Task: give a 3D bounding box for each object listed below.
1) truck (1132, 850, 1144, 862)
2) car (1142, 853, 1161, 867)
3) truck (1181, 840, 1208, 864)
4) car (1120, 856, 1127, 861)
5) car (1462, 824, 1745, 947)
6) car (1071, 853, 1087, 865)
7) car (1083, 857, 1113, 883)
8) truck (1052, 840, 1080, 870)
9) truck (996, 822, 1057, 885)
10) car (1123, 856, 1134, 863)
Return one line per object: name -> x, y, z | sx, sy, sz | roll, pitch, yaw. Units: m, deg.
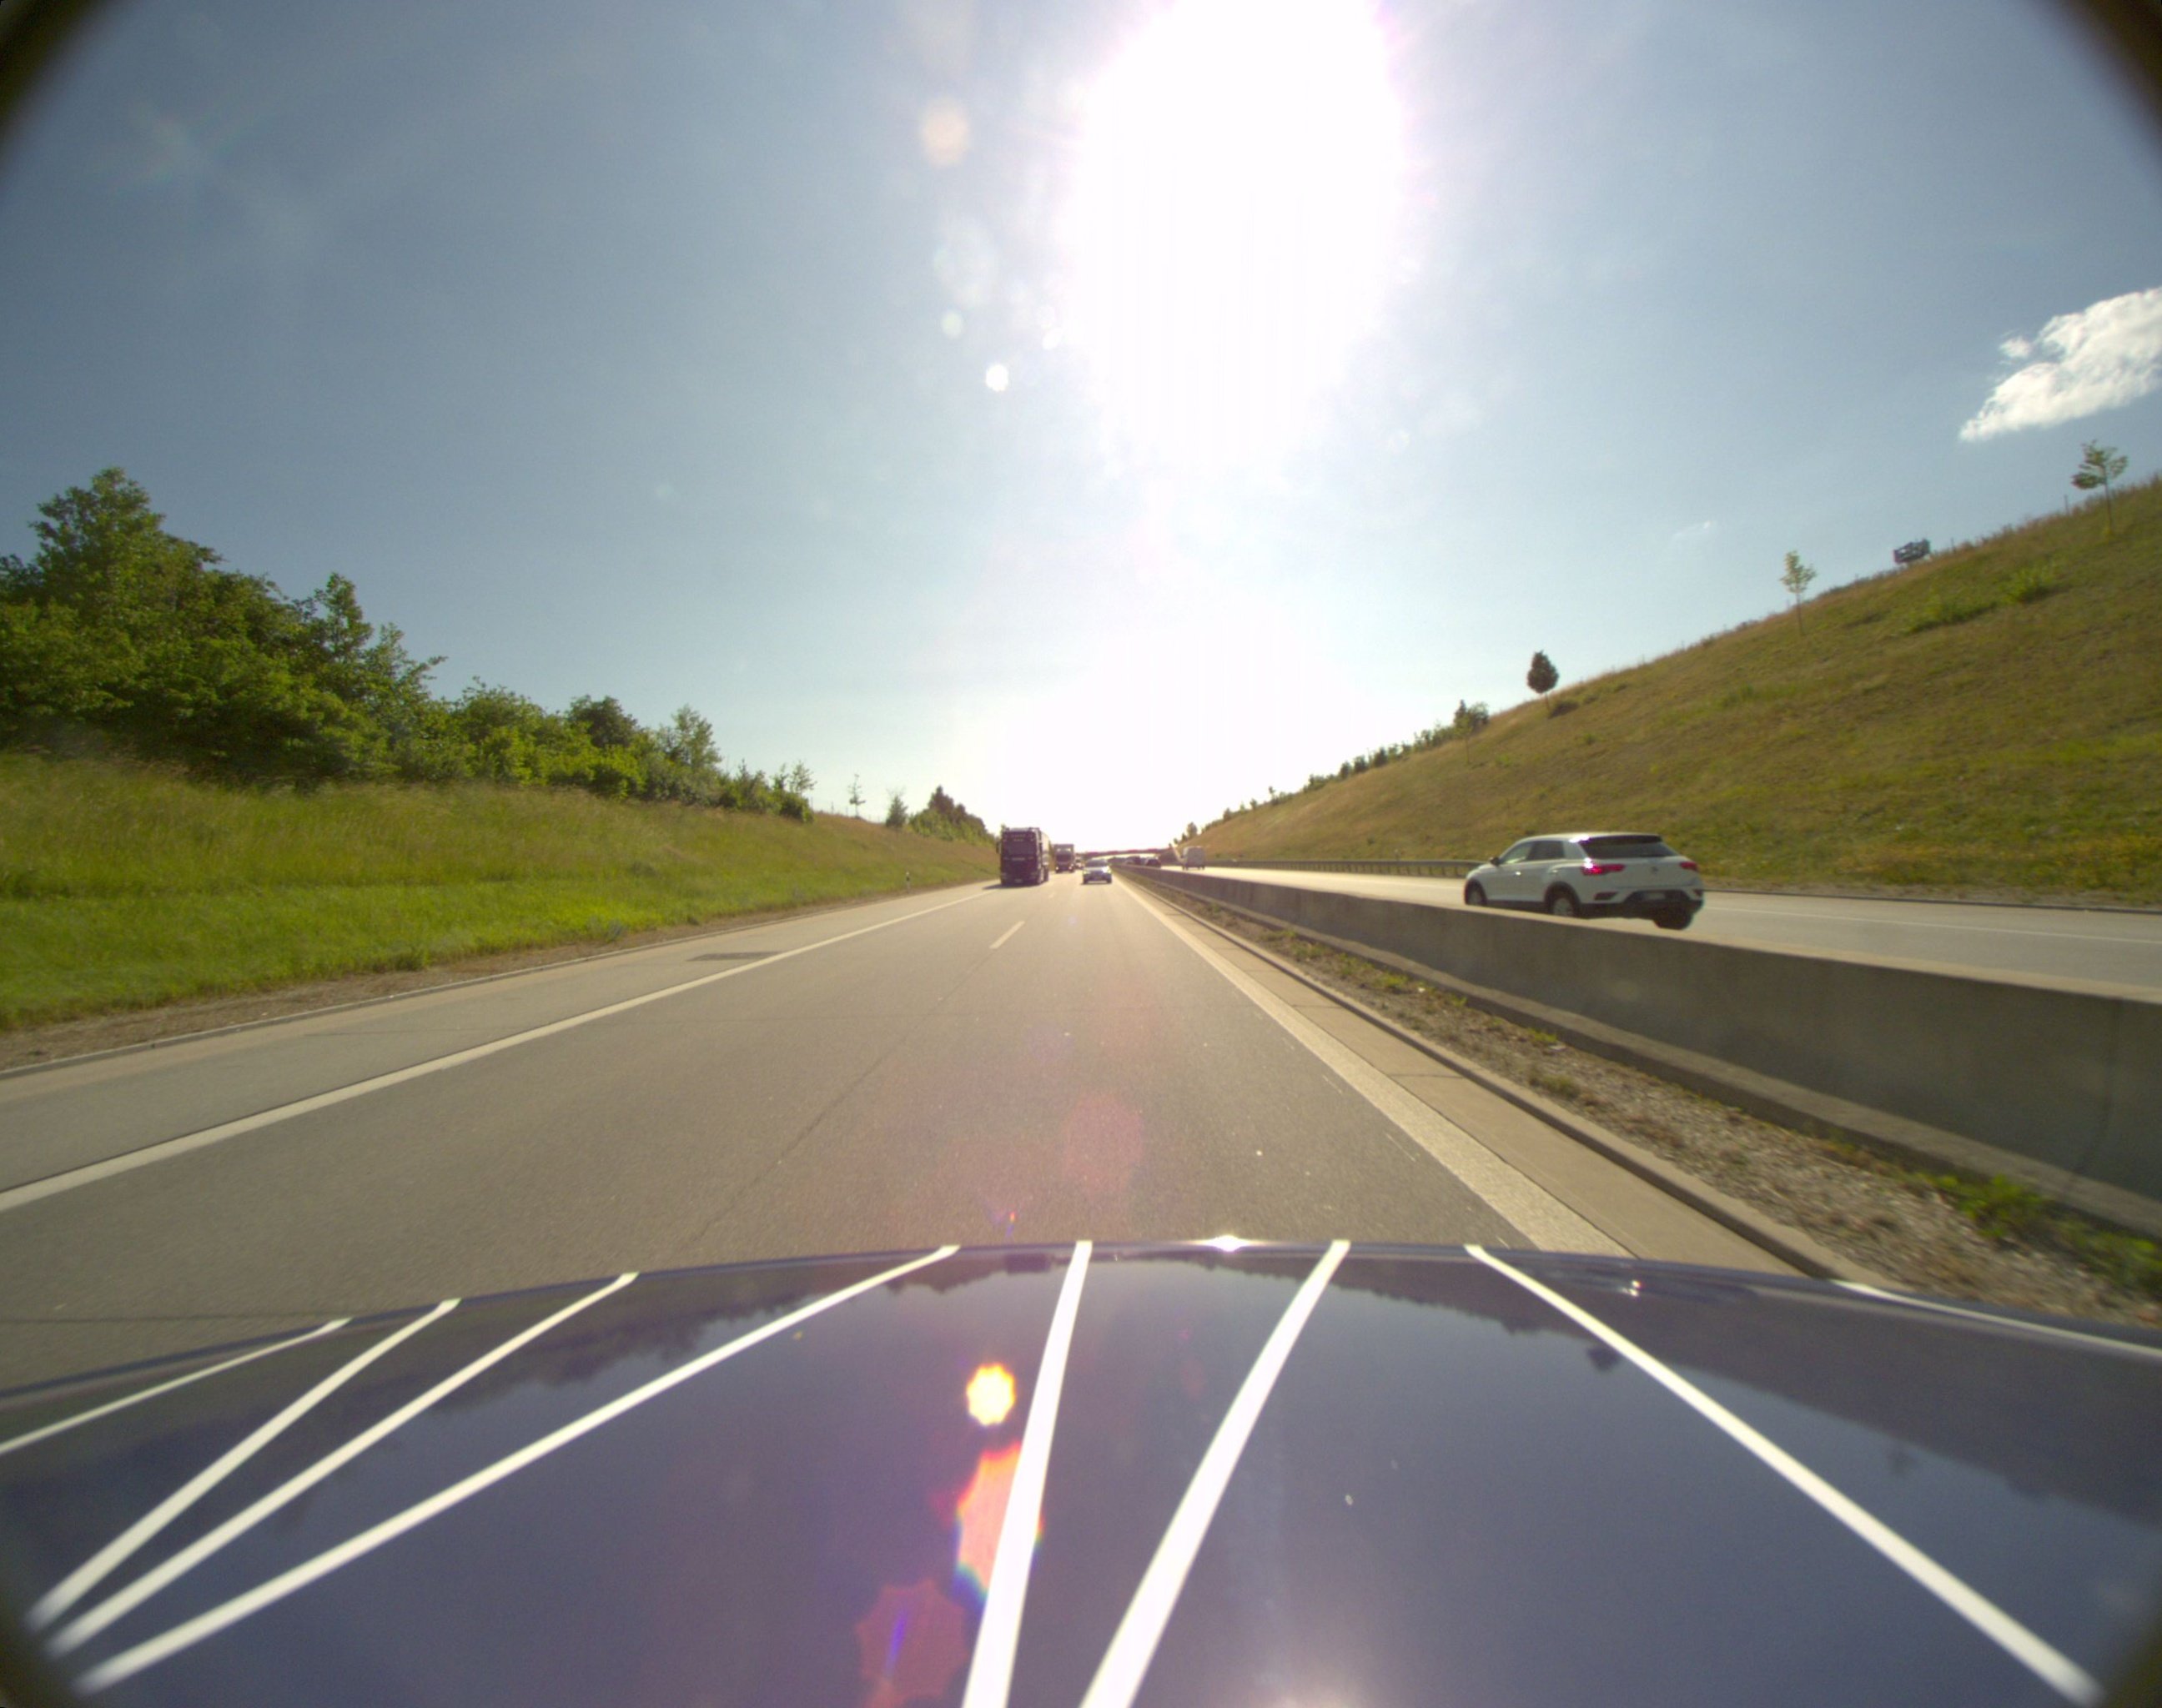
truck -> 18.487, 0.596, 246.853 | 2.763, 3.918, 12.449 | -2, 0, 1
car -> 8.400, 0.706, 90.748 | 1.858, 1.453, 4.333 | -3, 0, 1
truck -> 12.654, -0.216, 85.178 | 2.118, 2.446, 5.951 | -3, 0, 0
car -> 13.499, 1.336, 240.975 | 1.858, 1.453, 4.728 | -3, 0, 1
car -> 8.065, 0.425, 12.283 | 1.780, 1.592, 4.039 | -3, 0, 1
car -> -0.362, 0.943, 145.910 | 2.816, 2.143, 5.947 | -2, 0, 0
car -> 1.129, 1.013, 48.785 | 1.795, 1.501, 3.635 | -4, 0, 2
truck -> -1.934, 0.110, 106.992 | 3.024, 3.795, 13.405 | -2, 0, 2
truck -> -3.621, -0.042, 54.491 | 2.623, 3.795, 13.405 | -5, 0, 2
car -> 9.920, 1.102, 158.504 | 1.858, 1.453, 4.768 | -3, 0, 1
